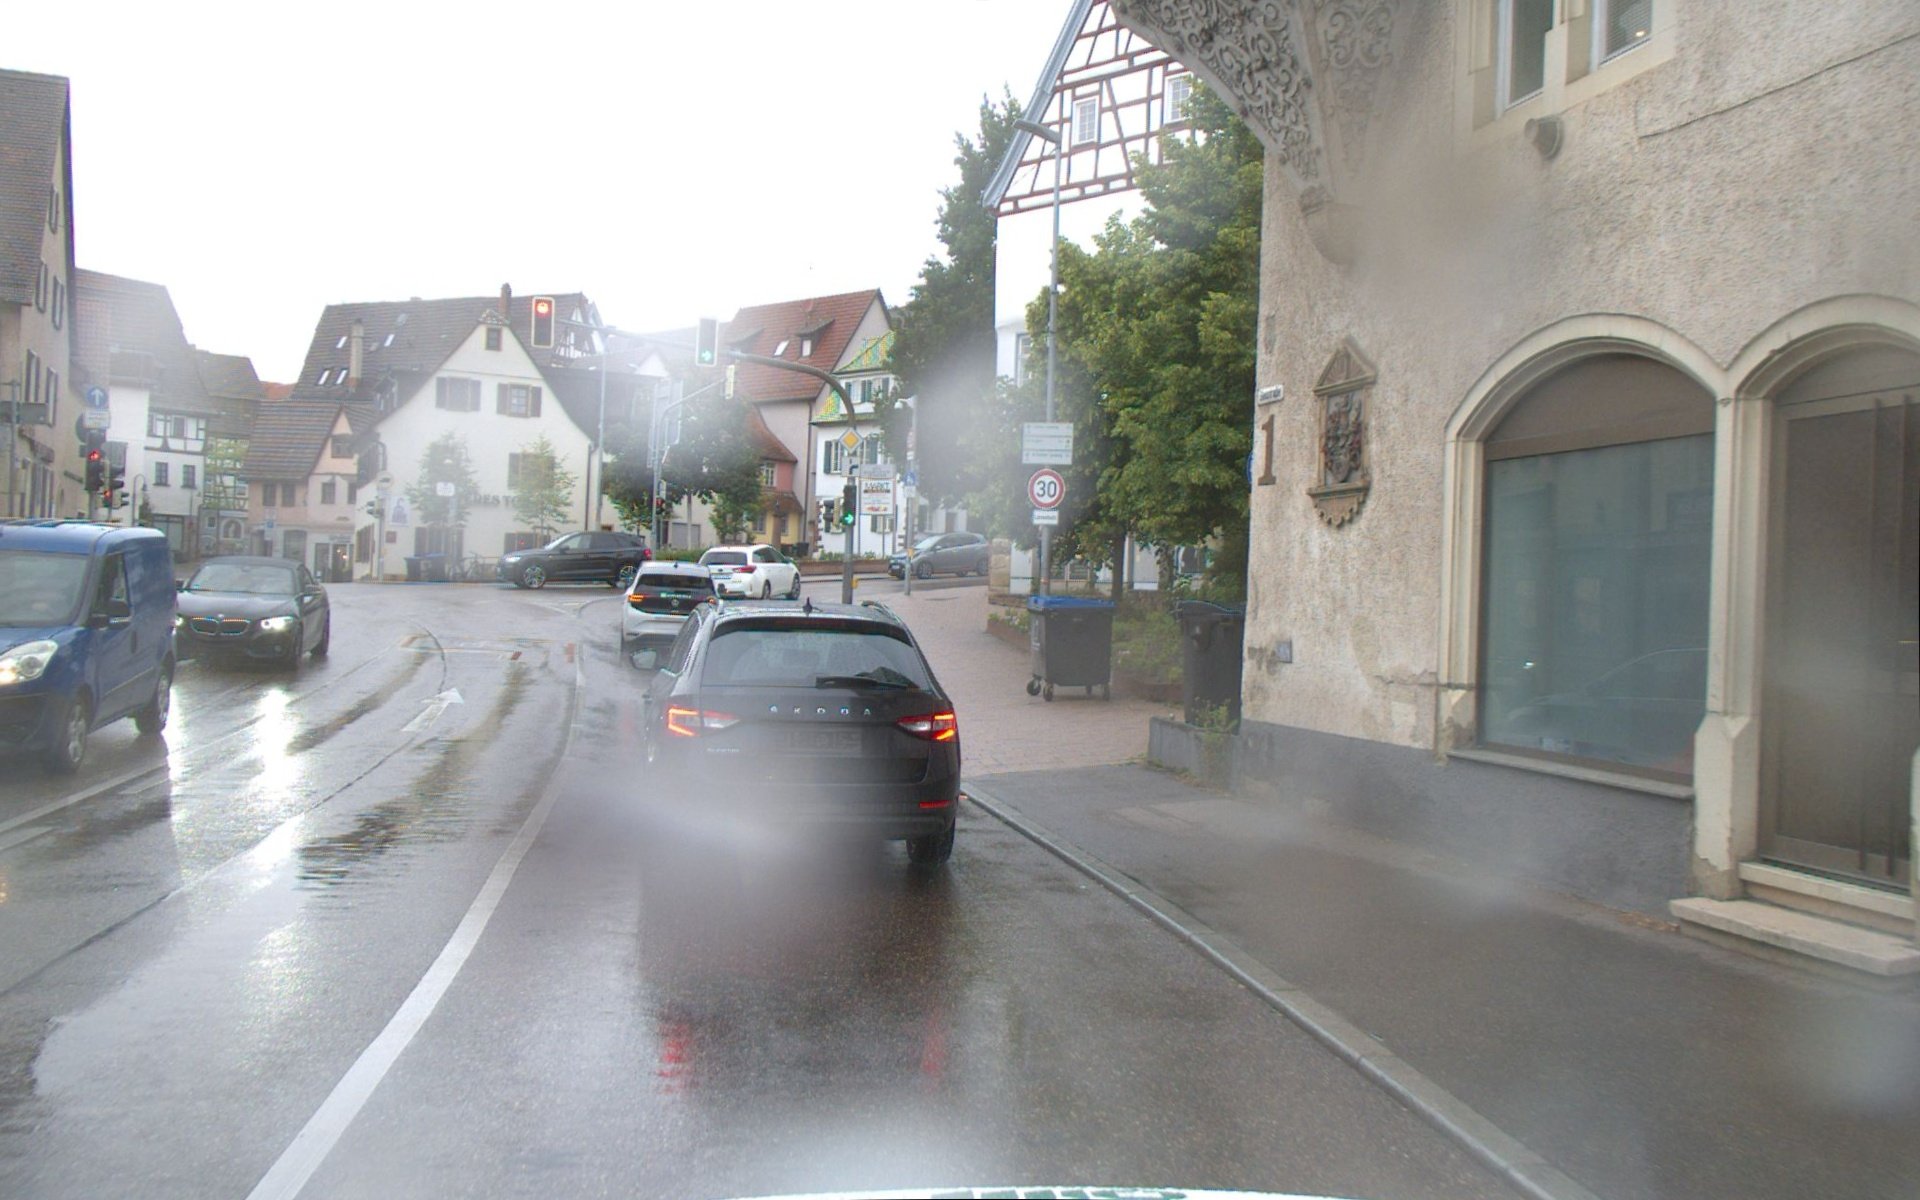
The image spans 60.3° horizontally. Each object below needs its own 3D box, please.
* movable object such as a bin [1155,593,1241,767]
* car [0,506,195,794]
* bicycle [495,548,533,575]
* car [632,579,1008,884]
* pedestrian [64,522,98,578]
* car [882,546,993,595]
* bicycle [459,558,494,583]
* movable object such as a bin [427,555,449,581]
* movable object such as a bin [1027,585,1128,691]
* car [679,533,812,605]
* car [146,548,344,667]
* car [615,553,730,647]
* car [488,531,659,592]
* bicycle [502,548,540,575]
[{"bbox_3d":[2.061,0.685,14.356,0.408,1.467,0.636,2,-2,-35],"label":"movable object such as a bin"},{"bbox_3d":[-7.513,0.237,12.924,1.960,1.914,4.362,2,2,-14],"label":"car"},{"bbox_3d":[-16.415,-1.413,60.878,0.384,0.928,1.466,3,2,33],"label":"bicycle"},{"bbox_3d":[-0.828,0.642,10.522,1.849,1.473,4.354,2,1,-3],"label":"car"},{"bbox_3d":[-29.387,-1.678,55.310,0.792,1.862,0.703,-4,4,-42],"label":"pedestrian"},{"bbox_3d":[-0.753,-0.984,54.665,3.329,1.502,1.527,2,1,-20],"label":"car"},{"bbox_3d":[-17.425,-1.072,59.580,0.330,0.832,1.436,5,4,24],"label":"bicycle"},{"bbox_3d":[-18.983,-1.168,60.160,0.583,0.917,0.575,1,2,-43],"label":"movable object such as a bin"},{"bbox_3d":[1.539,0.487,21.909,1.132,1.336,1.185,2,0,-6],"label":"movable object such as a bin"},{"bbox_3d":[-5.236,-0.770,40.929,1.845,1.623,4.330,2,2,13],"label":"car"},{"bbox_3d":[-9.597,0.037,22.516,1.830,1.411,4.246,2,2,-15],"label":"car"},{"bbox_3d":[-5.086,-0.030,29.265,1.823,1.498,3.990,2,1,-10],"label":"car"},{"bbox_3d":[-11.457,-1.131,49.048,4.672,1.615,1.817,1,2,-25],"label":"car"},{"bbox_3d":[-16.064,-1.403,60.573,0.384,0.928,1.466,3,2,33],"label":"bicycle"}]
